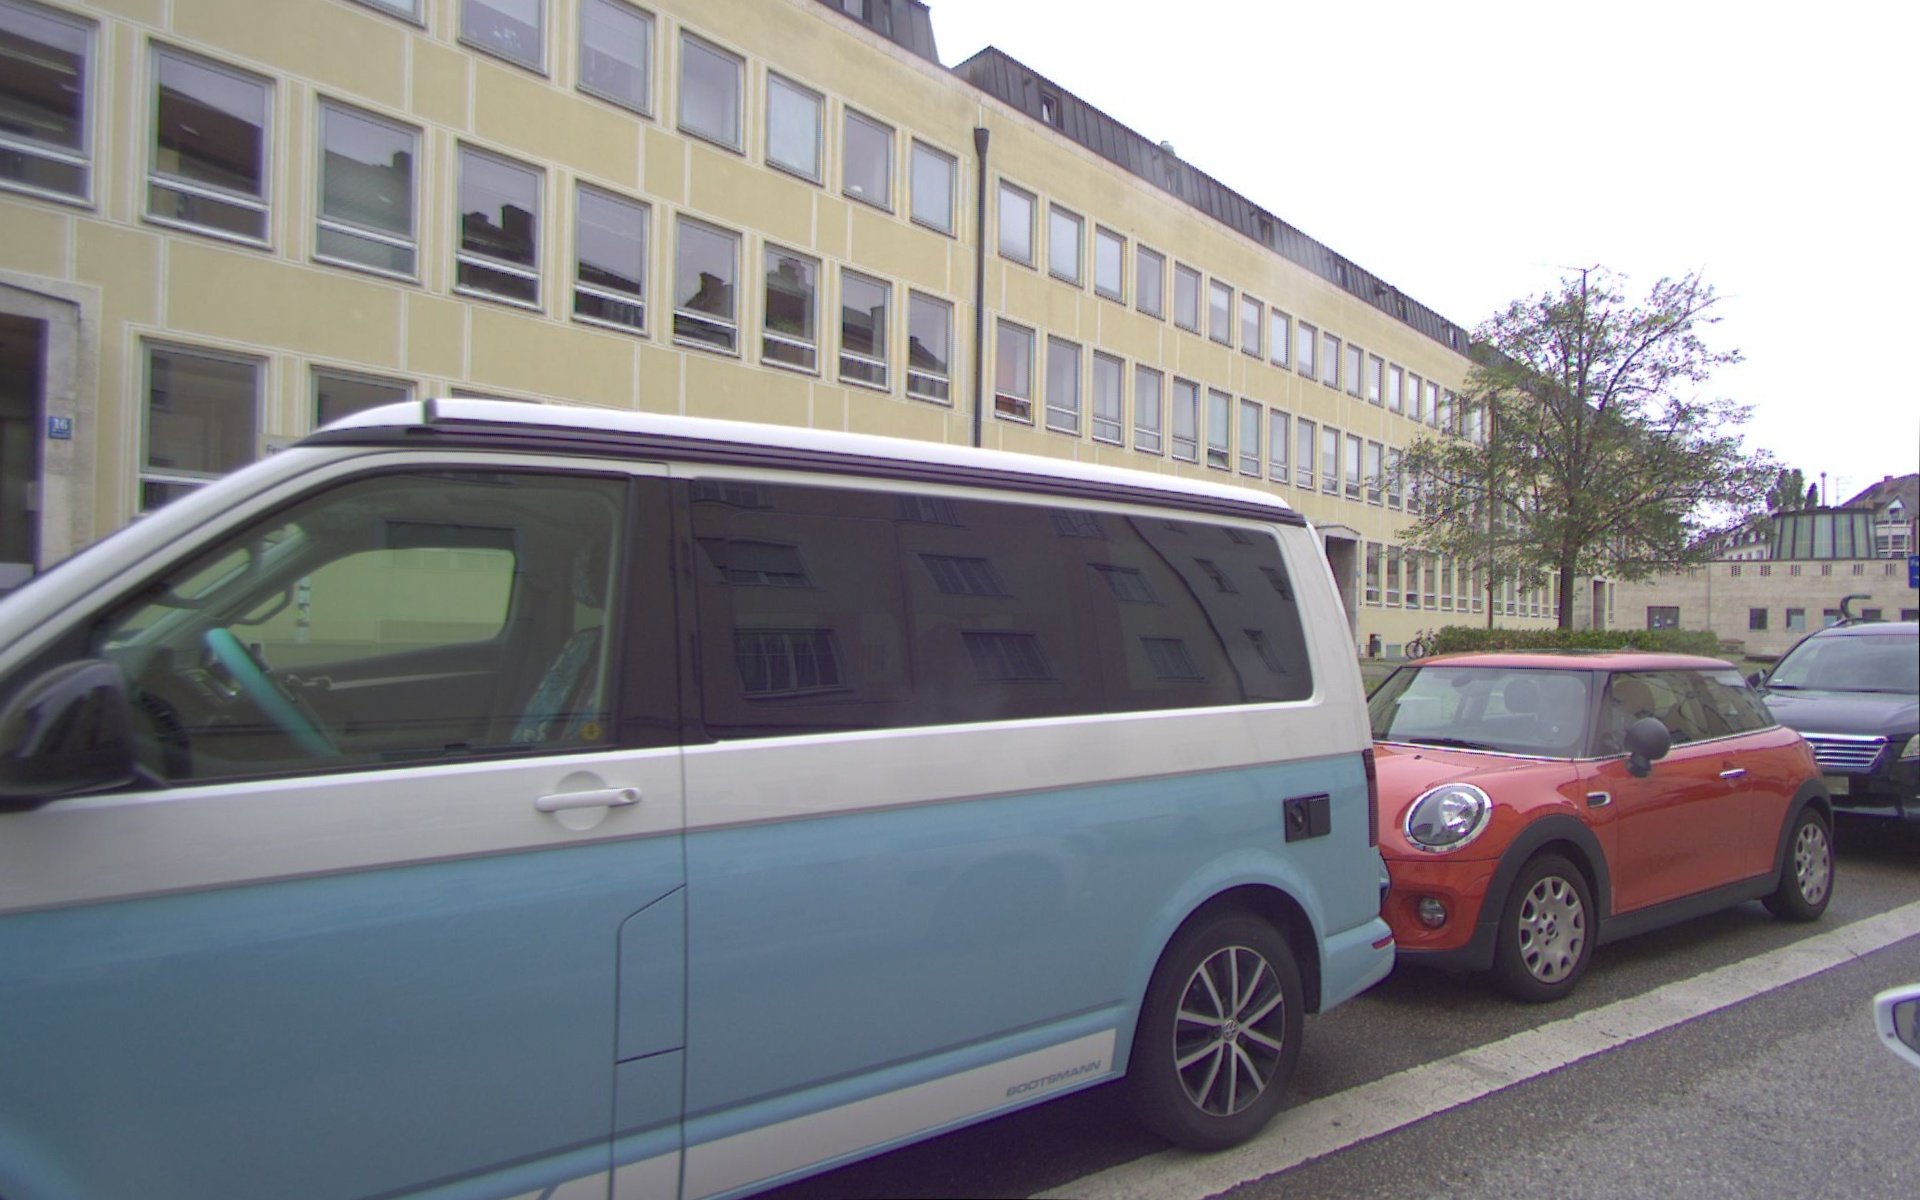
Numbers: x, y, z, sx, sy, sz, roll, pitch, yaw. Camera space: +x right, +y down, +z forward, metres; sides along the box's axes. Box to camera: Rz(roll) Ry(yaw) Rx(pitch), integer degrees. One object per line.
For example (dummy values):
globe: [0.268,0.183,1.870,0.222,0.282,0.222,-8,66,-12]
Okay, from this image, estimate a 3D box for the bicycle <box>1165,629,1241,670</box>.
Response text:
bicycle: [6.576,1.327,27.240,1.926,1.028,0.622,0,-1,44]

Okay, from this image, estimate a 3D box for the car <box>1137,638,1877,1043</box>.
car: [3.018,0.950,5.386,3.872,1.406,1.735,2,0,-30]

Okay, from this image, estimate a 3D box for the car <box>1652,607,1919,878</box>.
car: [7.577,0.989,7.972,4.398,1.687,1.735,2,-4,-31]

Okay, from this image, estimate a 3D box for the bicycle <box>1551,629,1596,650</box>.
bicycle: [32.115,2.071,52.596,0.621,1.028,1.927,2,-1,-44]

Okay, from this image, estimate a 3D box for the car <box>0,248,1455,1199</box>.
car: [-0.924,0.560,2.844,4.968,2.005,1.917,2,-2,-33]

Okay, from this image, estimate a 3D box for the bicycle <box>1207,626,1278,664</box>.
bicycle: [8.152,1.296,29.027,1.926,1.028,0.622,0,-1,44]

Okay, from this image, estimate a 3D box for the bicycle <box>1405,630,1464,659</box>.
bicycle: [18.037,1.679,38.187,0.621,1.028,1.928,2,-1,-43]

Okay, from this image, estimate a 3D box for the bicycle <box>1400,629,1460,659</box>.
bicycle: [17.545,1.628,37.515,0.620,1.028,1.930,1,-1,-40]

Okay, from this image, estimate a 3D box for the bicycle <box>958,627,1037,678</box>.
bicycle: [0.805,1.133,22.180,0.620,1.028,1.931,1,-1,-39]

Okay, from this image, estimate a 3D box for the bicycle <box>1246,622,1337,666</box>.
bicycle: [10.126,1.321,30.732,2.408,1.265,1.050,0,-1,44]
